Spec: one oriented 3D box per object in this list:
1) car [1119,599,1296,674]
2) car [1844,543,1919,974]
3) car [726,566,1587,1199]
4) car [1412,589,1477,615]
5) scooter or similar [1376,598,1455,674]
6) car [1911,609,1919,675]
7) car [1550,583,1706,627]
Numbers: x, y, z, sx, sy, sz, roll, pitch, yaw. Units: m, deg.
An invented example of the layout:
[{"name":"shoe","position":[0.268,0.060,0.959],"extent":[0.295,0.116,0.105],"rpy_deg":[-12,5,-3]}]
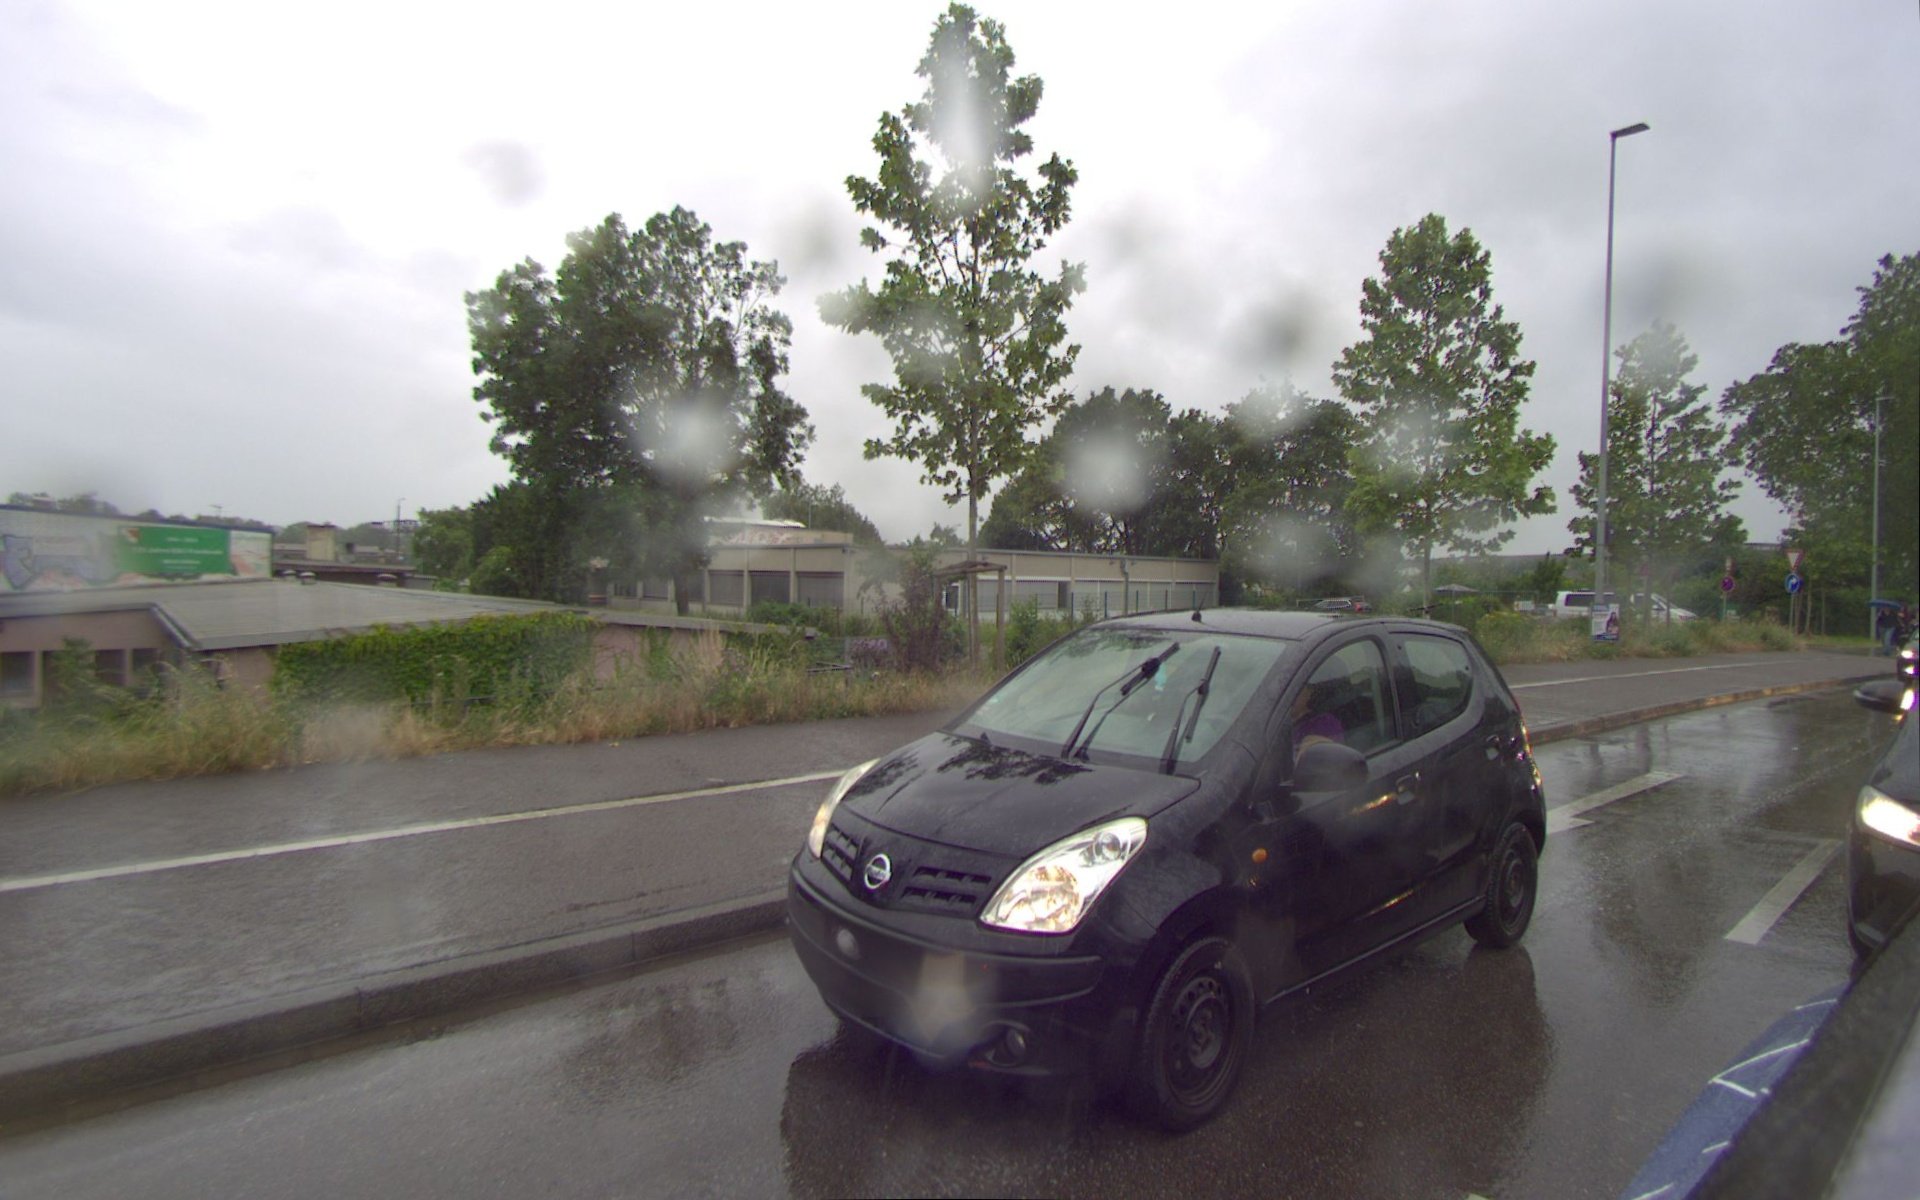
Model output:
[{"name":"car","position":[4.691,0.641,19.494],"extent":[1.319,1.304,3.246],"rpy_deg":[0,0,-35]},{"name":"car","position":[5.604,0.614,4.443],"extent":[4.090,1.601,1.759],"rpy_deg":[1,0,-36]},{"name":"car","position":[1.039,0.686,4.079],"extent":[3.554,1.528,1.556],"rpy_deg":[0,0,-41]},{"name":"car","position":[30.934,0.131,64.689],"extent":[1.319,1.604,3.555],"rpy_deg":[0,0,-35]},{"name":"scooter or similar","position":[7.672,0.582,17.011],"extent":[1.877,1.214,0.367],"rpy_deg":[0,0,-38]},{"name":"car","position":[21.226,0.845,21.120],"extent":[3.652,1.326,1.616],"rpy_deg":[1,-1,-41]},{"name":"car","position":[28.034,0.210,42.645],"extent":[1.972,1.747,5.168],"rpy_deg":[0,0,-42]}]
